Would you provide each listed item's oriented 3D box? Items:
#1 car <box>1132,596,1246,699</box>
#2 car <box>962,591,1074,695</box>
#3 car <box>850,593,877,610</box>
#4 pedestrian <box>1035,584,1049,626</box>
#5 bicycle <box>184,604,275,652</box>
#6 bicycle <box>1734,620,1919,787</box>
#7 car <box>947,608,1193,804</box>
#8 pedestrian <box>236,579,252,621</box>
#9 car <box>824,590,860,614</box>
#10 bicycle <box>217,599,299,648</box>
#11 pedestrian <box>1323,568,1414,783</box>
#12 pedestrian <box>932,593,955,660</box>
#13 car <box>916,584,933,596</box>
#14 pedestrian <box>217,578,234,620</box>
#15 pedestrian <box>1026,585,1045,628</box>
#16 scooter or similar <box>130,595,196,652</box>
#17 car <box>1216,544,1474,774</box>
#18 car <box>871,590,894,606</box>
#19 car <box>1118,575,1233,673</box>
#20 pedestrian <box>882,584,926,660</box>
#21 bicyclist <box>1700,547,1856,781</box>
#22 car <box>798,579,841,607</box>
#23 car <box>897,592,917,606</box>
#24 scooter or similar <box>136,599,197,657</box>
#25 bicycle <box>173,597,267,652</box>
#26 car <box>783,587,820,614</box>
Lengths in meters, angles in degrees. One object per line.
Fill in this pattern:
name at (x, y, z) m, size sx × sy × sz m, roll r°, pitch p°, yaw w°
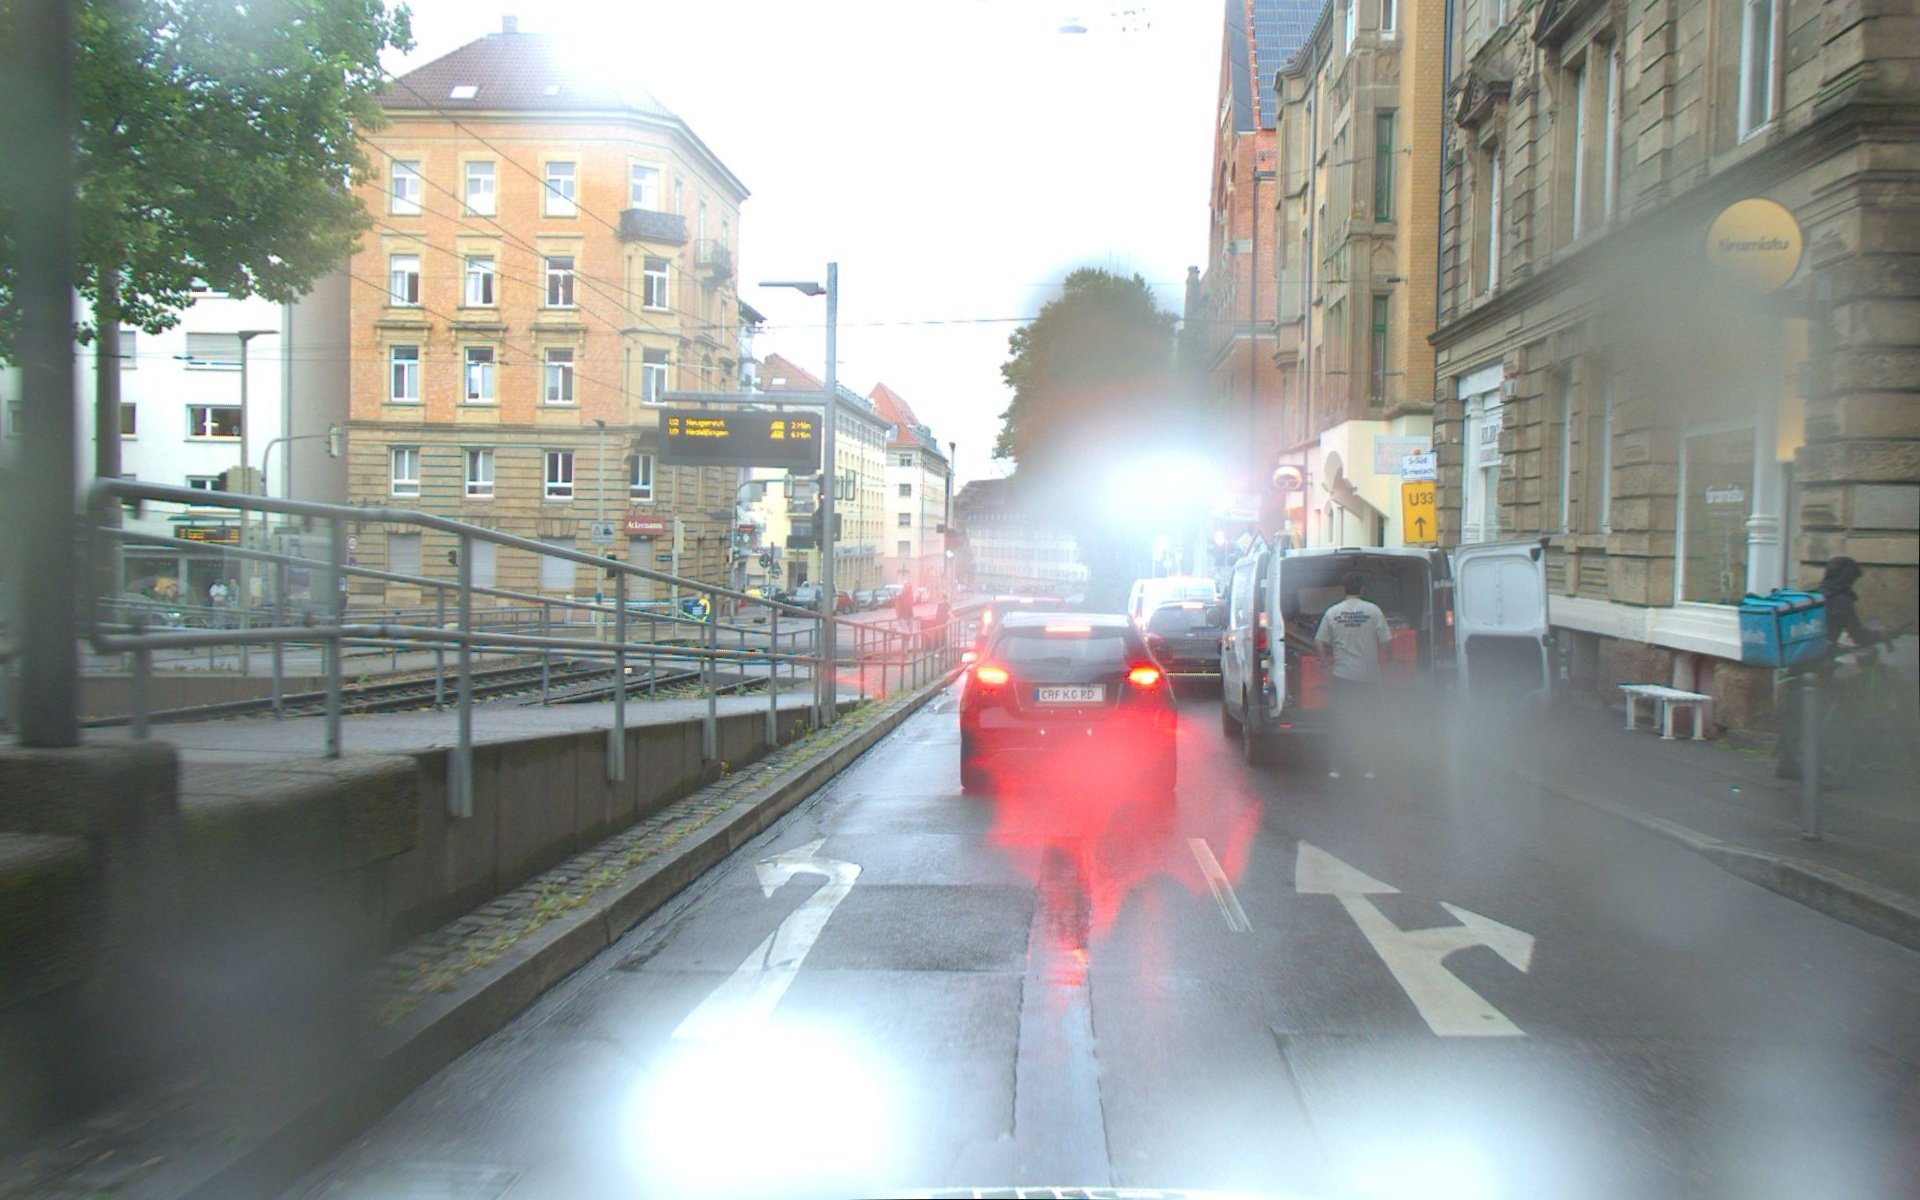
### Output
car at (3.777, 0.694, 26.878) m, size 1.676 × 1.494 × 4.285 m, roll 1°, pitch 0°, yaw 9°
car at (0.919, 0.621, 26.098) m, size 1.645 × 1.515 × 3.614 m, roll 0°, pitch 1°, yaw 2°
car at (-6.621, 0.124, 113.841) m, size 1.407 × 1.126 × 3.163 m, roll 1°, pitch 0°, yaw 4°
pedestrian at (3.373, 0.202, 67.864) m, size 0.507 × 1.695 × 0.477 m, roll 2°, pitch 1°, yaw 7°
bicycle at (-16.813, 0.650, 38.108) m, size 1.835 × 1.080 × 0.517 m, roll 1°, pitch 0°, yaw -8°
bicycle at (6.490, 0.732, 12.088) m, size 1.658 × 1.135 × 0.462 m, roll -1°, pitch 0°, yaw -20°
car at (0.997, 0.814, 14.566) m, size 1.855 × 1.414 × 4.002 m, roll 0°, pitch 0°, yaw 5°
pedestrian at (-28.437, -0.006, 65.683) m, size 0.512 × 1.650 × 0.480 m, roll 0°, pitch 0°, yaw -35°
car at (-7.246, 0.105, 101.677) m, size 1.645 × 1.379 × 3.705 m, roll 1°, pitch 0°, yaw 4°
bicycle at (-16.968, 0.569, 40.018) m, size 1.733 × 1.162 × 0.517 m, roll 1°, pitch 0°, yaw -7°
pedestrian at (3.492, 0.628, 14.180) m, size 0.670 × 1.784 × 0.837 m, roll 0°, pitch 0°, yaw 8°
pedestrian at (-0.388, 0.614, 38.761) m, size 0.521 × 1.557 × 0.436 m, roll 1°, pitch 0°, yaw -4°
car at (-3.570, -1.024, 166.597) m, size 1.366 × 1.191 × 3.163 m, roll 1°, pitch 0°, yaw 4°
pedestrian at (-29.117, -0.050, 65.573) m, size 0.512 × 1.650 × 0.480 m, roll 0°, pitch 0°, yaw -35°
pedestrian at (3.026, 0.253, 66.514) m, size 0.664 × 1.690 × 0.677 m, roll 0°, pitch 0°, yaw 10°
scooter or similar at (-17.132, 0.498, 35.562) m, size 0.294 × 1.216 × 1.243 m, roll 1°, pitch 0°, yaw 43°
car at (3.695, 0.491, 16.677) m, size 1.880 × 1.969 × 4.688 m, roll 1°, pitch 0°, yaw 5°
car at (-5.951, -0.174, 127.075) m, size 1.366 × 1.191 × 3.163 m, roll 1°, pitch 0°, yaw 4°
car at (4.363, 0.430, 34.095) m, size 1.893 × 1.863 × 4.282 m, roll 1°, pitch 1°, yaw 1°
pedestrian at (-1.311, 0.511, 38.868) m, size 0.734 × 1.754 × 0.730 m, roll 1°, pitch 0°, yaw -39°
bicyclist at (6.120, 0.459, 12.395) m, size 0.834 × 1.686 × 0.628 m, roll -1°, pitch 0°, yaw -19°
car at (-7.990, -0.413, 94.644) m, size 1.749 × 1.557 × 4.465 m, roll 1°, pitch 0°, yaw 4°
car at (-4.639, -0.125, 144.867) m, size 1.366 × 1.191 × 3.163 m, roll 1°, pitch 0°, yaw 4°
scooter or similar at (-16.827, 0.582, 35.087) m, size 0.356 × 1.216 × 1.105 m, roll 1°, pitch 0°, yaw 43°
bicycle at (-16.596, 0.553, 37.104) m, size 1.835 × 1.216 × 0.517 m, roll 1°, pitch 0°, yaw -7°
car at (-8.429, 0.007, 88.219) m, size 1.421 × 1.341 × 3.296 m, roll 2°, pitch 1°, yaw 3°
